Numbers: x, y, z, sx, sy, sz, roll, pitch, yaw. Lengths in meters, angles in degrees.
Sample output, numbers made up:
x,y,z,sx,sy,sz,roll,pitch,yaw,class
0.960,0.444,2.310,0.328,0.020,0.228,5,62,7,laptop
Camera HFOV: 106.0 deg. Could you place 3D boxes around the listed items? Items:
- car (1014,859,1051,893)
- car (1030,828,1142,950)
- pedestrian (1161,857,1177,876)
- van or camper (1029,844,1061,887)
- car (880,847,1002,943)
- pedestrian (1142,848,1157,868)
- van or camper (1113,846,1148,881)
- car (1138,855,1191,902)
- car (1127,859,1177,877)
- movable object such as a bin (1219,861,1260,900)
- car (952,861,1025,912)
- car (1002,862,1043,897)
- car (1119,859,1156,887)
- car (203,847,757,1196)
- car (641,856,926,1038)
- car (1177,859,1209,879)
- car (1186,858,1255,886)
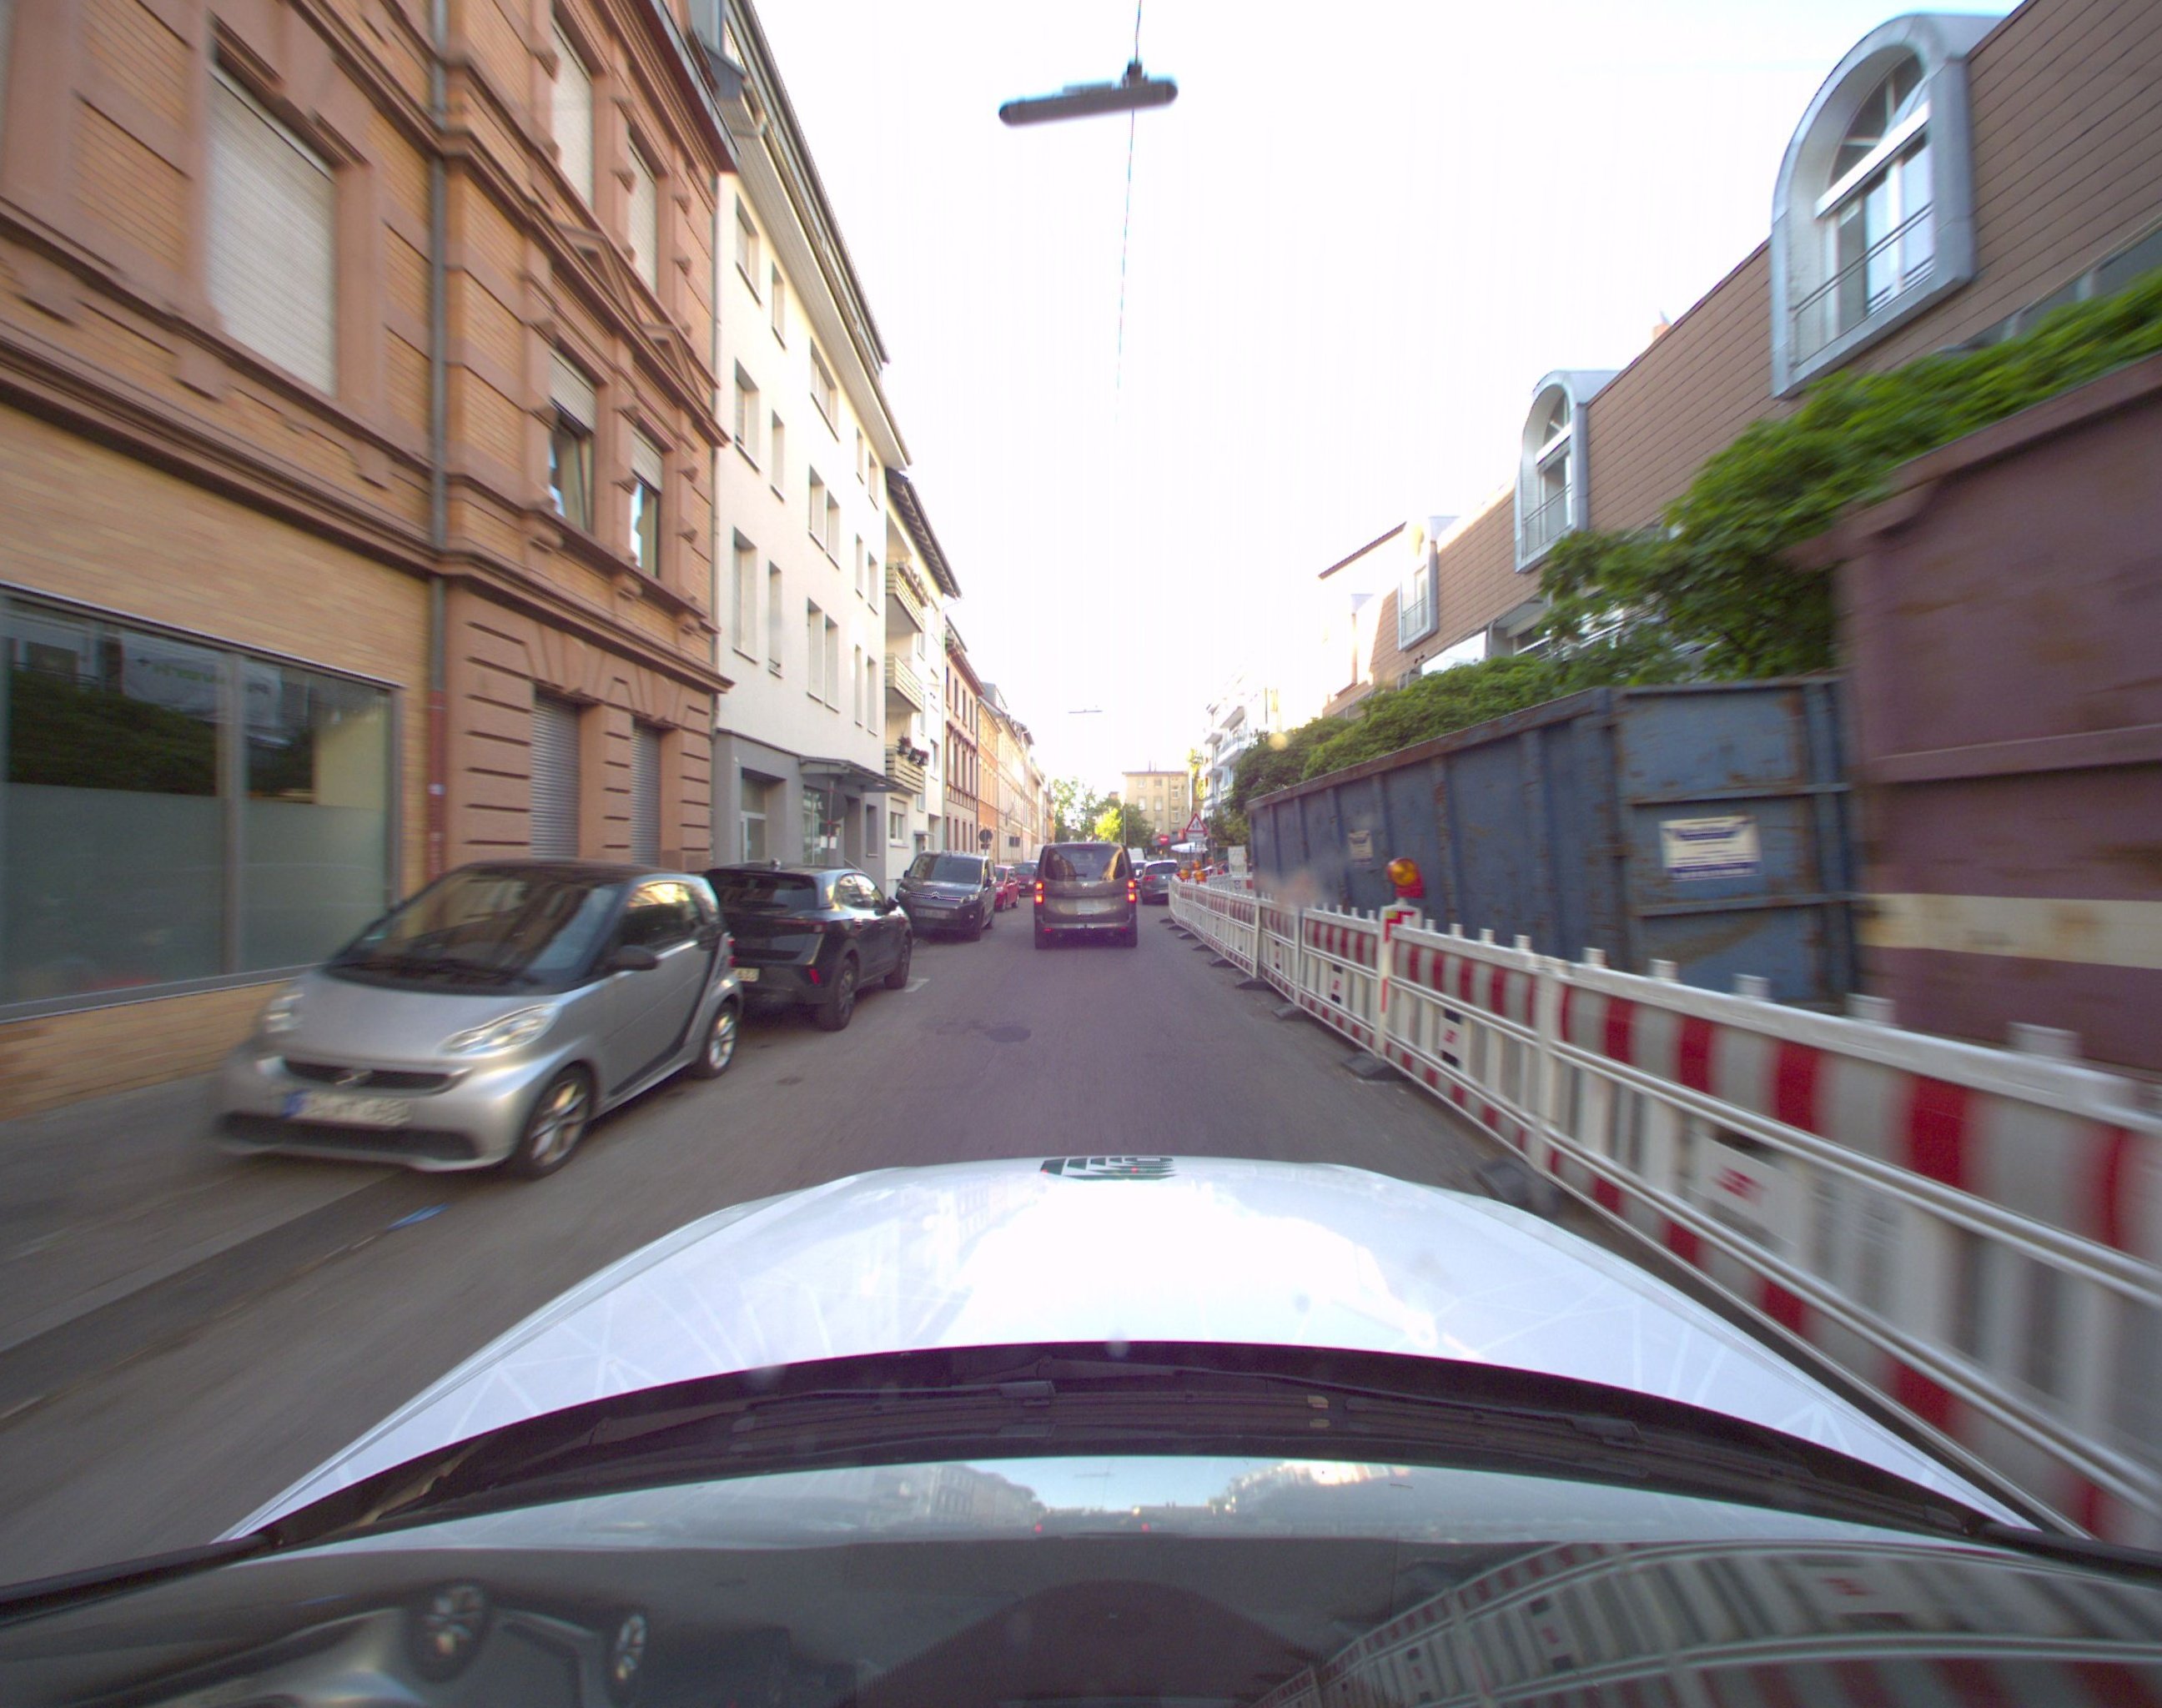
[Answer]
x,y,z,sx,sy,sz,roll,pitch,yaw,class
-2.516,1.129,43.174,1.706,1.644,3.977,2,0,-1,car
0.074,0.609,15.926,1.852,2.013,3.999,-2,0,0,car
7.968,1.124,73.788,0.939,1.720,1.052,-1,-1,-34,pedestrian
-2.348,0.766,54.613,1.944,2.649,7.136,-2,-1,-2,van or camper
-2.952,0.812,18.189,1.988,1.859,4.582,0,0,-1,car
5.590,0.337,66.512,0.874,1.556,0.869,-3,0,-22,pedestrian
3.845,0.730,64.883,2.094,2.602,7.508,-1,-1,-1,van or camper
3.170,0.906,31.580,1.742,1.683,4.528,1,0,2,car
6.830,1.362,79.040,4.611,1.466,1.840,-3,-1,-1,car
5.825,0.973,29.980,1.256,1.376,0.795,1,-1,-25,movable object such as a bin
-3.054,1.053,27.603,1.661,1.485,3.611,5,0,5,car
-2.690,1.163,38.064,1.652,1.448,3.284,3,-1,-1,car
3.331,1.120,48.821,1.718,1.612,4.584,0,-1,-2,car
-3.301,0.773,5.125,1.391,1.588,2.793,0,0,0,car
-2.994,0.833,9.174,1.735,1.599,4.013,0,0,0,car
8.530,1.120,61.987,1.586,1.416,3.247,-1,-1,23,car
8.447,1.068,49.630,3.884,1.607,1.693,1,-1,-1,car
